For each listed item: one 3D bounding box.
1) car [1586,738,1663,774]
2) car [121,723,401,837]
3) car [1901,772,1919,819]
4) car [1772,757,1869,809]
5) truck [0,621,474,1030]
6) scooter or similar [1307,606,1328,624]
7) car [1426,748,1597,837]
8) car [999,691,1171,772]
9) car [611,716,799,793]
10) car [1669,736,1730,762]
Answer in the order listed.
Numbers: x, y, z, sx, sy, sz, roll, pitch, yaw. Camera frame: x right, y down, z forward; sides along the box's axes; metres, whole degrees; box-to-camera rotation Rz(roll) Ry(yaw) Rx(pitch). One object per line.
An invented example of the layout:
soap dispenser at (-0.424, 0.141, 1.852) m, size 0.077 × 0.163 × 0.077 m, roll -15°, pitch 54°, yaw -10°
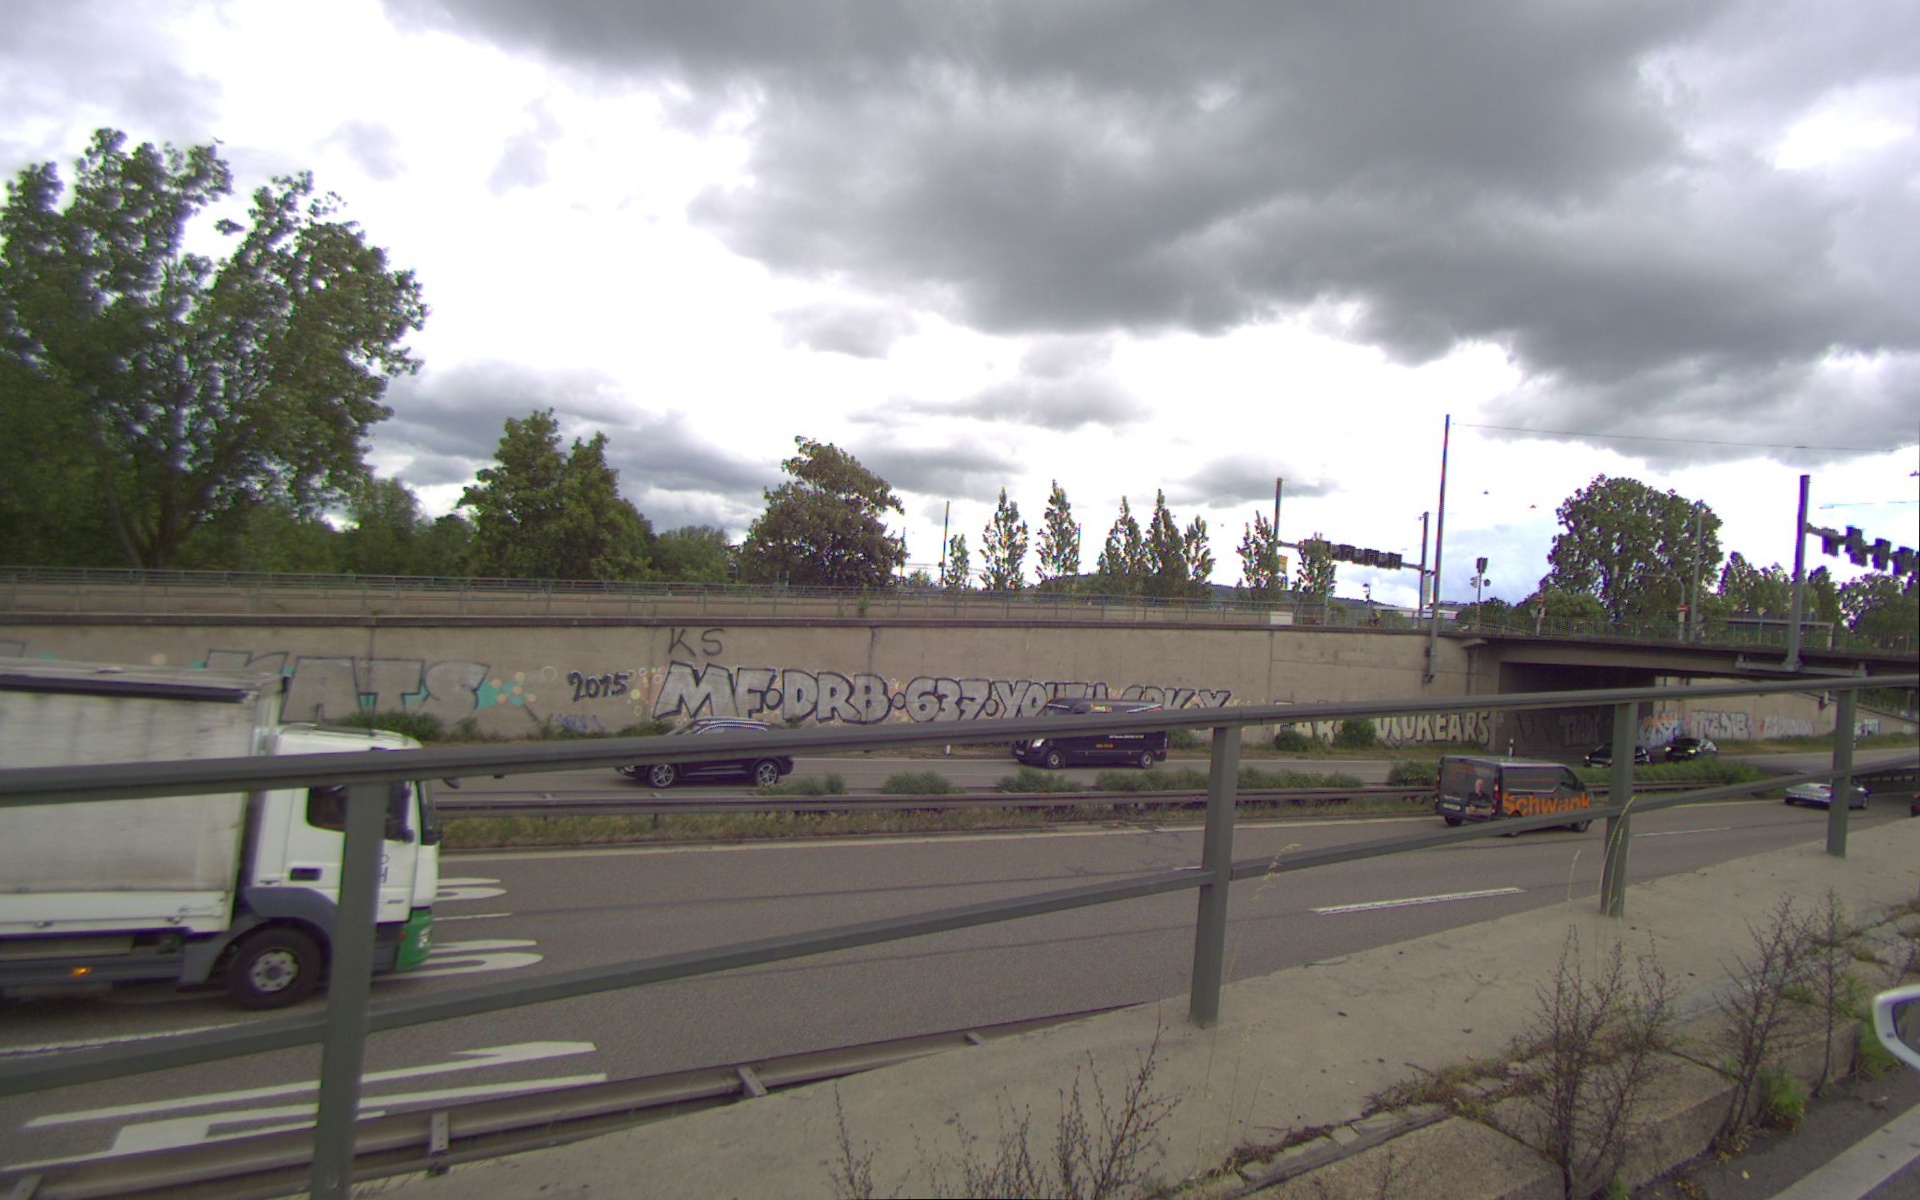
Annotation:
car at (32.836, 7.699, 49.625) m, size 3.815 × 1.520 × 1.656 m, roll 6°, pitch -4°, yaw -30°
car at (-12.476, 3.224, 18.268) m, size 3.888 × 1.671 × 1.748 m, roll 6°, pitch -2°, yaw -31°
car at (37.954, 7.562, 38.457) m, size 4.136 × 1.642 × 1.887 m, roll 5°, pitch -2°, yaw -34°
car at (34.503, 7.284, 40.263) m, size 4.136 × 1.642 × 1.887 m, roll 5°, pitch -2°, yaw -34°
truck at (-8.927, 1.943, 9.586) m, size 7.357 × 3.335 × 2.733 m, roll 5°, pitch -2°, yaw -30°
scooter or similar at (22.559, 0.953, 63.419) m, size 1.403 × 1.108 × 0.539 m, roll 4°, pitch -2°, yaw -37°
car at (15.406, 5.283, 28.006) m, size 4.903 × 2.028 × 1.889 m, roll 5°, pitch -2°, yaw -30°
car at (4.613, 4.795, 36.704) m, size 6.047 × 2.580 × 2.232 m, roll 5°, pitch -2°, yaw -31°
car at (-6.581, 3.981, 25.991) m, size 4.285 × 1.671 × 1.889 m, roll 6°, pitch -3°, yaw -30°
car at (46.818, 9.458, 63.595) m, size 4.065 × 1.393 × 1.702 m, roll 6°, pitch -4°, yaw -31°
